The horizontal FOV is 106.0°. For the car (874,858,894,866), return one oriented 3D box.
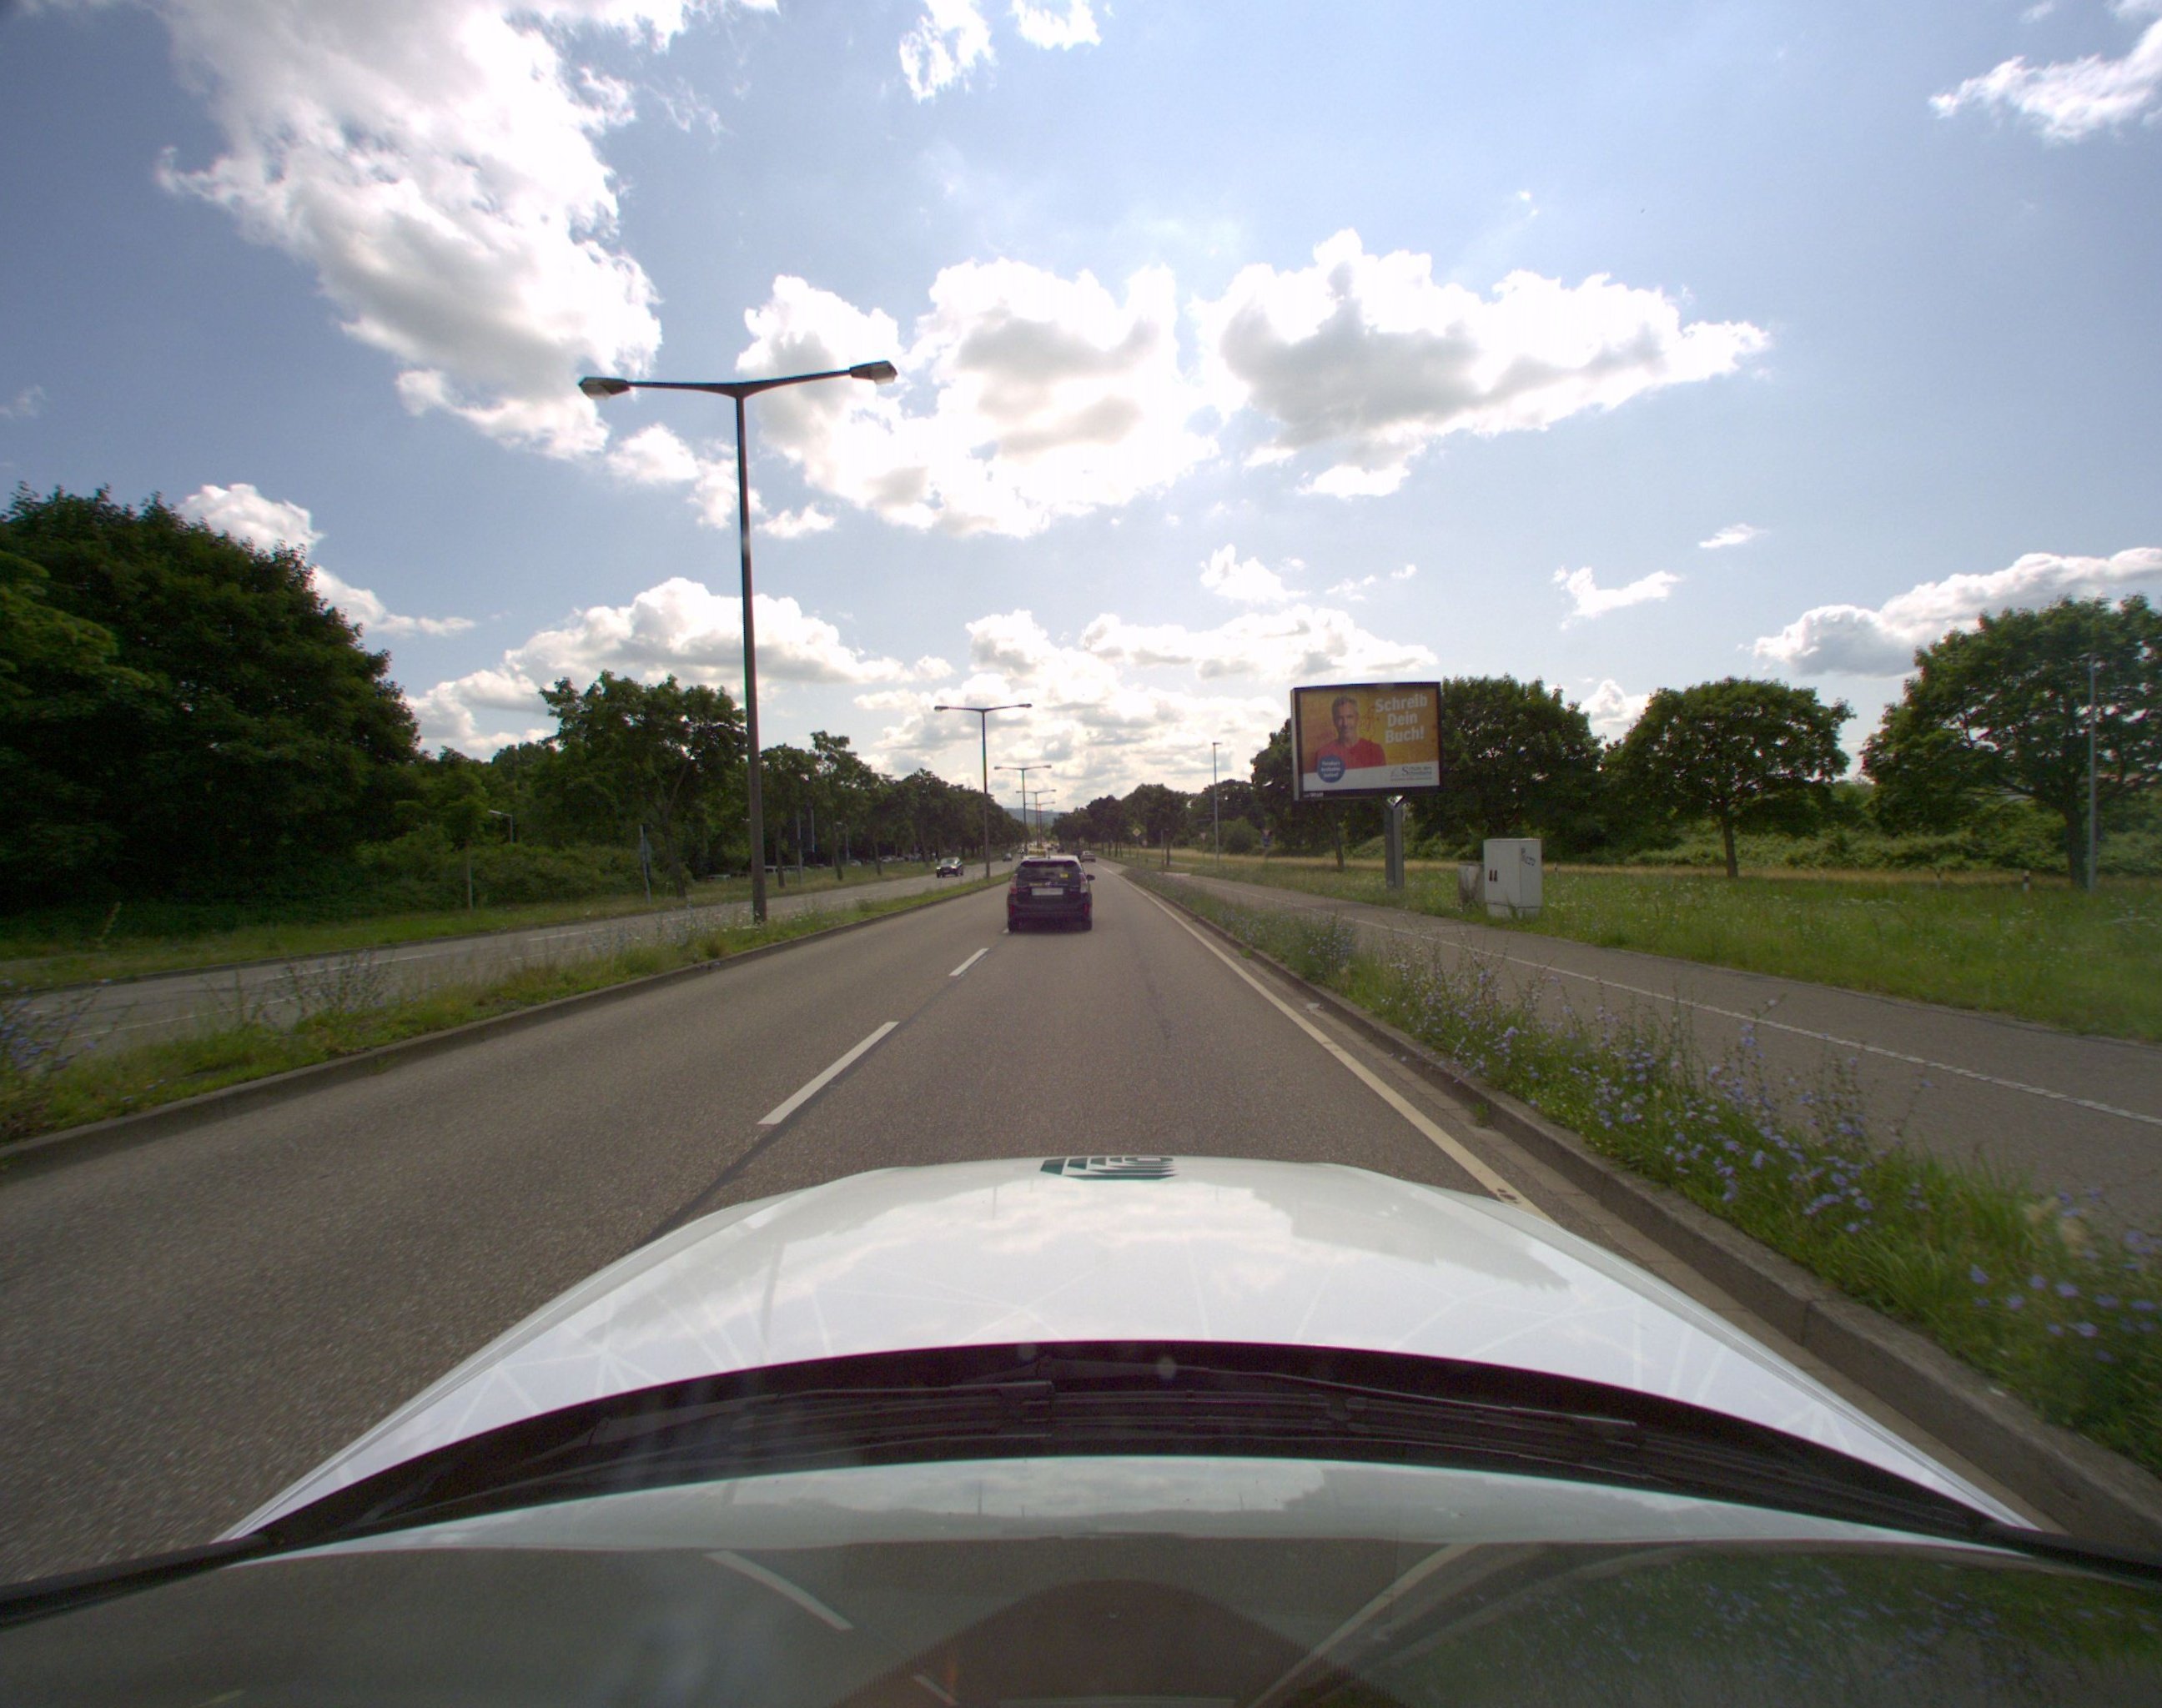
[{"bbox_3d":[-40.859,1.663,169.113,3.771,1.387,1.786,-1,1,1],"label":"car"}]

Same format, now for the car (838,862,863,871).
[{"bbox_3d":[-40.067,2.119,141.660,3.775,1.428,1.784,-1,1,-3],"label":"car"}]

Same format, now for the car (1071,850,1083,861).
[{"bbox_3d":[-0.720,0.238,136.586,1.988,1.662,3.998,-1,1,-1],"label":"car"}]

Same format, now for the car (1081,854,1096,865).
[{"bbox_3d":[1.055,0.780,123.048,1.989,1.508,3.995,-1,1,-4],"label":"car"}]

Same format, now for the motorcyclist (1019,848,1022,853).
[{"bbox_3d":[-15.803,-0.911,212.482,0.825,1.414,1.328,-1,1,-2],"label":"motorcyclist"}]

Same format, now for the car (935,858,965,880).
[{"bbox_3d":[-11.822,1.363,73.834,1.871,1.790,4.726,-4,-1,-1],"label":"car"}]

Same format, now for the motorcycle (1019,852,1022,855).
[{"bbox_3d":[-15.811,-0.110,212.608,0.749,0.772,2.670,-1,1,-1],"label":"motorcycle"}]

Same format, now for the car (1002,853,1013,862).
[{"bbox_3d":[-13.255,0.660,146.667,1.701,1.427,3.661,-2,0,-10],"label":"car"}]

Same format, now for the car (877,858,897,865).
[{"bbox_3d":[-41.706,1.584,174.831,3.771,1.387,1.786,-1,1,1],"label":"car"}]

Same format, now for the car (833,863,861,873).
[{"bbox_3d":[-36.469,2.229,126.874,3.773,1.508,1.785,-1,1,-1],"label":"car"}]

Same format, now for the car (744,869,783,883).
[{"bbox_3d":[-38.552,2.668,99.073,3.979,1.625,1.997,-1,1,-4],"label":"car"}]

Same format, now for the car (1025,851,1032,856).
[{"bbox_3d":[-13.830,-0.150,215.042,1.806,1.398,4.730,-2,1,-2],"label":"car"}]

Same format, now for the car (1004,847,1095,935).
[{"bbox_3d":[-0.673,0.703,18.014,1.774,1.684,3.998,-1,1,-2],"label":"car"}]
